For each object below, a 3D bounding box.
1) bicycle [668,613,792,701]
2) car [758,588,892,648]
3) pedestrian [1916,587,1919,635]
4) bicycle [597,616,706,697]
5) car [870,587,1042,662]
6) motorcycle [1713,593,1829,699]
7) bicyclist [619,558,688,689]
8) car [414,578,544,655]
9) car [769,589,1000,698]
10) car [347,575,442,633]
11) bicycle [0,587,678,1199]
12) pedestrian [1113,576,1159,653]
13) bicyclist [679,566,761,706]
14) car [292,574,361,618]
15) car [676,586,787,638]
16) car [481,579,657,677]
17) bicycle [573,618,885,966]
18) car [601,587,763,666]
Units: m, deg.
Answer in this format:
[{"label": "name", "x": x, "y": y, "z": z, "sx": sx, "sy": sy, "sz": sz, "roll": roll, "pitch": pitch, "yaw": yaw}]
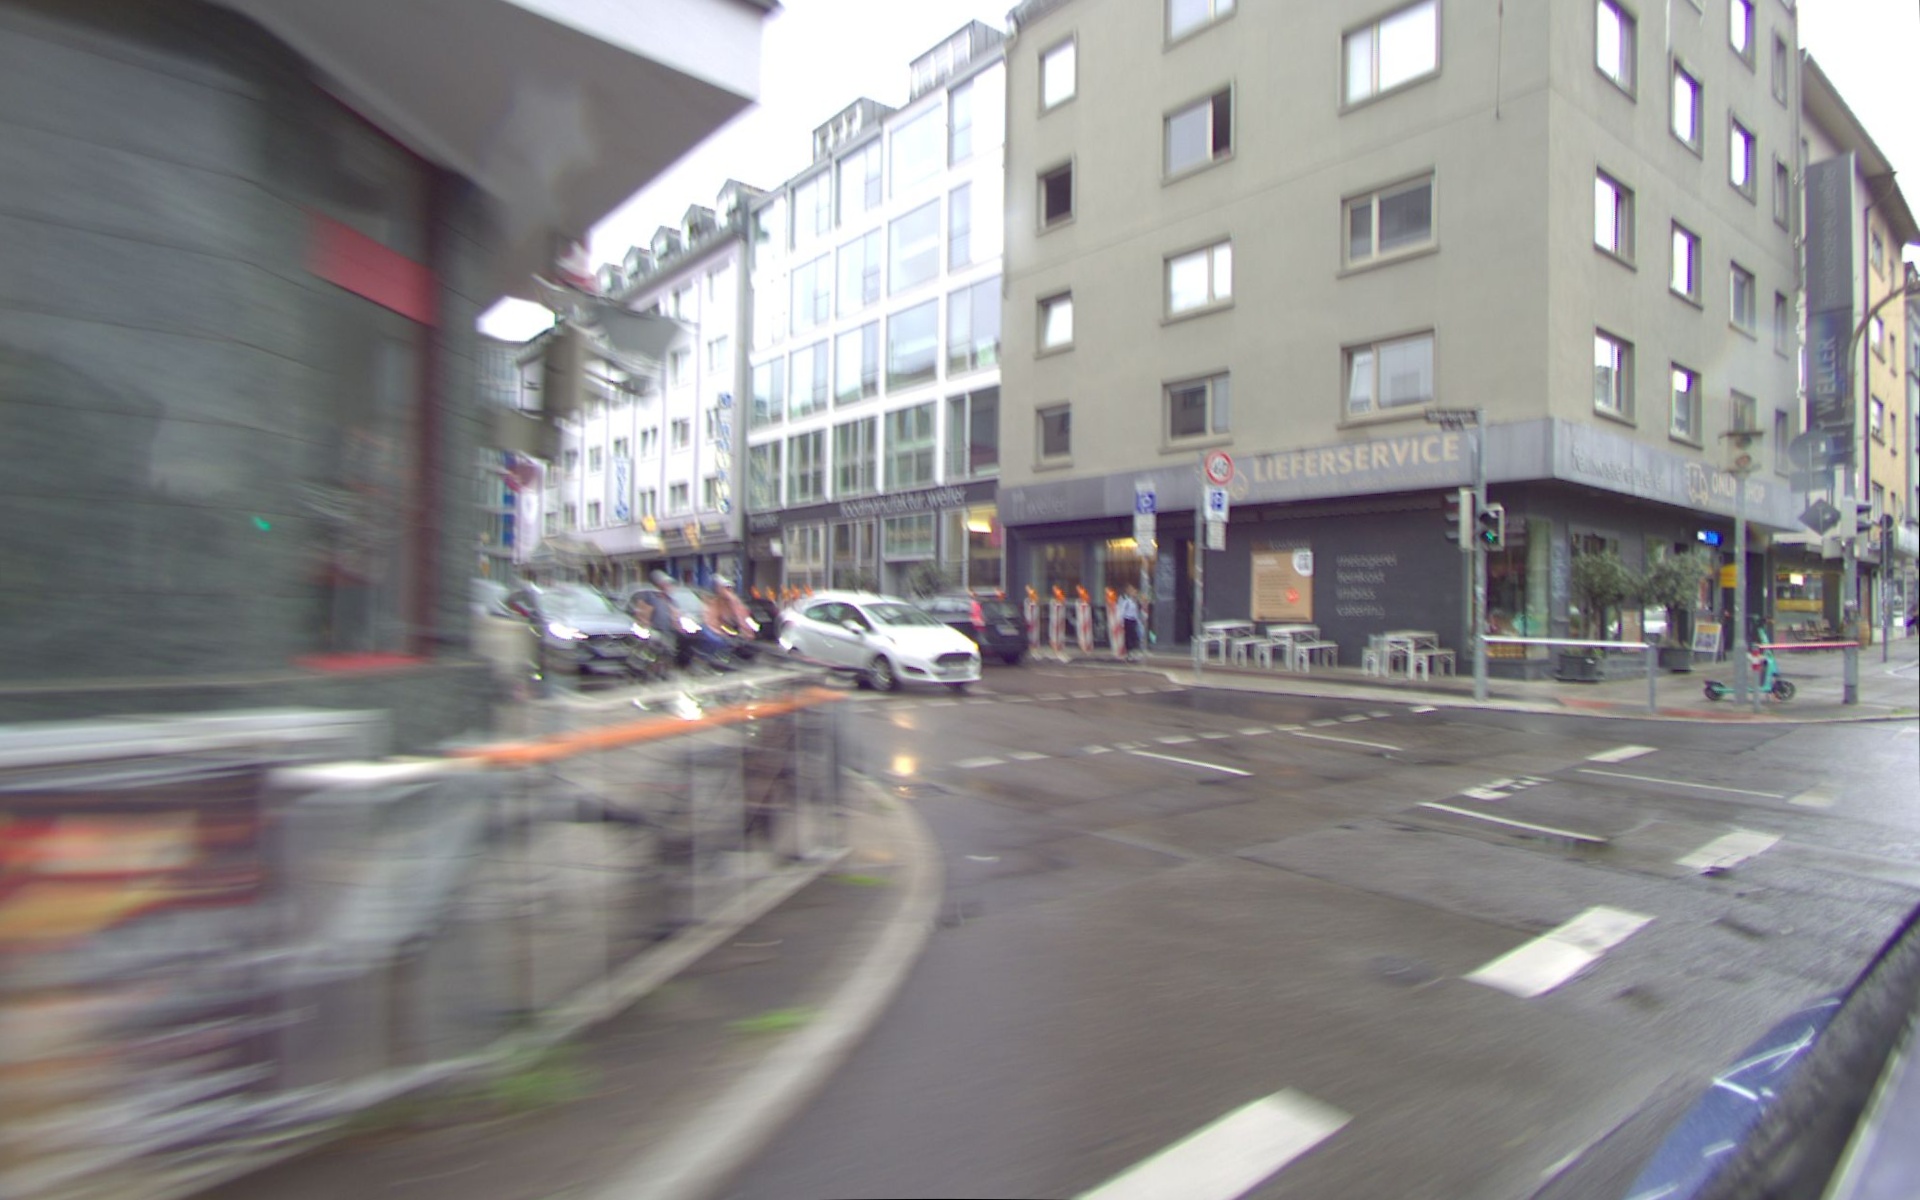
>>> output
[{"label": "bicycle", "x": -3.041, "y": 0.707, "z": 13.253, "sx": 0.743, "sy": 1.023, "sz": 1.928, "roll": 0, "pitch": 0, "yaw": -42}, {"label": "car", "x": -3.710, "y": 0.429, "z": 27.295, "sx": 1.692, "sy": 1.505, "sz": 3.973, "roll": 0, "pitch": 1, "yaw": -41}, {"label": "pedestrian", "x": 34.104, "y": 0.396, "z": 35.448, "sx": 0.708, "sy": 1.680, "sz": 0.792, "roll": 0, "pitch": -1, "yaw": -40}, {"label": "bicycle", "x": -4.480, "y": 0.779, "z": 14.594, "sx": 0.743, "sy": 1.023, "sz": 1.982, "roll": 0, "pitch": 0, "yaw": -42}, {"label": "car", "x": -0.174, "y": 0.477, "z": 22.650, "sx": 1.692, "sy": 1.505, "sz": 3.973, "roll": 0, "pitch": 1, "yaw": -41}, {"label": "motorcycle", "x": 11.758, "y": 0.643, "z": 14.707, "sx": 1.116, "sy": 1.479, "sz": 0.681, "roll": 0, "pitch": 0, "yaw": 14}, {"label": "bicyclist", "x": -4.403, "y": 0.317, "z": 14.520, "sx": 0.744, "sy": 1.813, "sz": 0.634, "roll": 0, "pitch": 0, "yaw": -42}, {"label": "car", "x": -11.448, "y": 0.334, "z": 23.964, "sx": 1.747, "sy": 1.661, "sz": 4.084, "roll": 0, "pitch": 1, "yaw": -41}, {"label": "car", "x": -1.327, "y": 0.595, "z": 16.319, "sx": 1.692, "sy": 1.505, "sz": 3.973, "roll": 0, "pitch": 1, "yaw": -41}, {"label": "car", "x": -17.408, "y": 0.089, "z": 31.058, "sx": 1.747, "sy": 1.661, "sz": 4.084, "roll": 0, "pitch": 1, "yaw": -41}, {"label": "bicycle", "x": -1.547, "y": 0.617, "z": 2.523, "sx": 0.493, "sy": 1.275, "sz": 1.939, "roll": -1, "pitch": 0, "yaw": 25}, {"label": "pedestrian", "x": 3.866, "y": 0.304, "z": 22.278, "sx": 0.845, "sy": 1.629, "sz": 0.549, "roll": -2, "pitch": 1, "yaw": -37}, {"label": "bicyclist", "x": -3.170, "y": 0.451, "z": 13.373, "sx": 0.744, "sy": 1.768, "sz": 0.841, "roll": 0, "pitch": 0, "yaw": -42}, {"label": "car", "x": -25.373, "y": -0.170, "z": 40.495, "sx": 1.747, "sy": 1.661, "sz": 4.084, "roll": 0, "pitch": 1, "yaw": -41}, {"label": "car", "x": -7.120, "y": 0.320, "z": 31.292, "sx": 1.692, "sy": 1.505, "sz": 3.973, "roll": 0, "pitch": 1, "yaw": -41}, {"label": "car", "x": -7.483, "y": 0.443, "z": 19.155, "sx": 1.848, "sy": 1.661, "sz": 4.084, "roll": 0, "pitch": 1, "yaw": -41}, {"label": "bicycle", "x": -0.897, "y": 0.683, "z": 4.524, "sx": 0.569, "sy": 1.172, "sz": 1.948, "roll": 0, "pitch": 0, "yaw": 13}, {"label": "car", "x": -5.973, "y": 0.483, "z": 21.479, "sx": 1.693, "sy": 1.505, "sz": 4.084, "roll": 0, "pitch": 1, "yaw": -41}]
